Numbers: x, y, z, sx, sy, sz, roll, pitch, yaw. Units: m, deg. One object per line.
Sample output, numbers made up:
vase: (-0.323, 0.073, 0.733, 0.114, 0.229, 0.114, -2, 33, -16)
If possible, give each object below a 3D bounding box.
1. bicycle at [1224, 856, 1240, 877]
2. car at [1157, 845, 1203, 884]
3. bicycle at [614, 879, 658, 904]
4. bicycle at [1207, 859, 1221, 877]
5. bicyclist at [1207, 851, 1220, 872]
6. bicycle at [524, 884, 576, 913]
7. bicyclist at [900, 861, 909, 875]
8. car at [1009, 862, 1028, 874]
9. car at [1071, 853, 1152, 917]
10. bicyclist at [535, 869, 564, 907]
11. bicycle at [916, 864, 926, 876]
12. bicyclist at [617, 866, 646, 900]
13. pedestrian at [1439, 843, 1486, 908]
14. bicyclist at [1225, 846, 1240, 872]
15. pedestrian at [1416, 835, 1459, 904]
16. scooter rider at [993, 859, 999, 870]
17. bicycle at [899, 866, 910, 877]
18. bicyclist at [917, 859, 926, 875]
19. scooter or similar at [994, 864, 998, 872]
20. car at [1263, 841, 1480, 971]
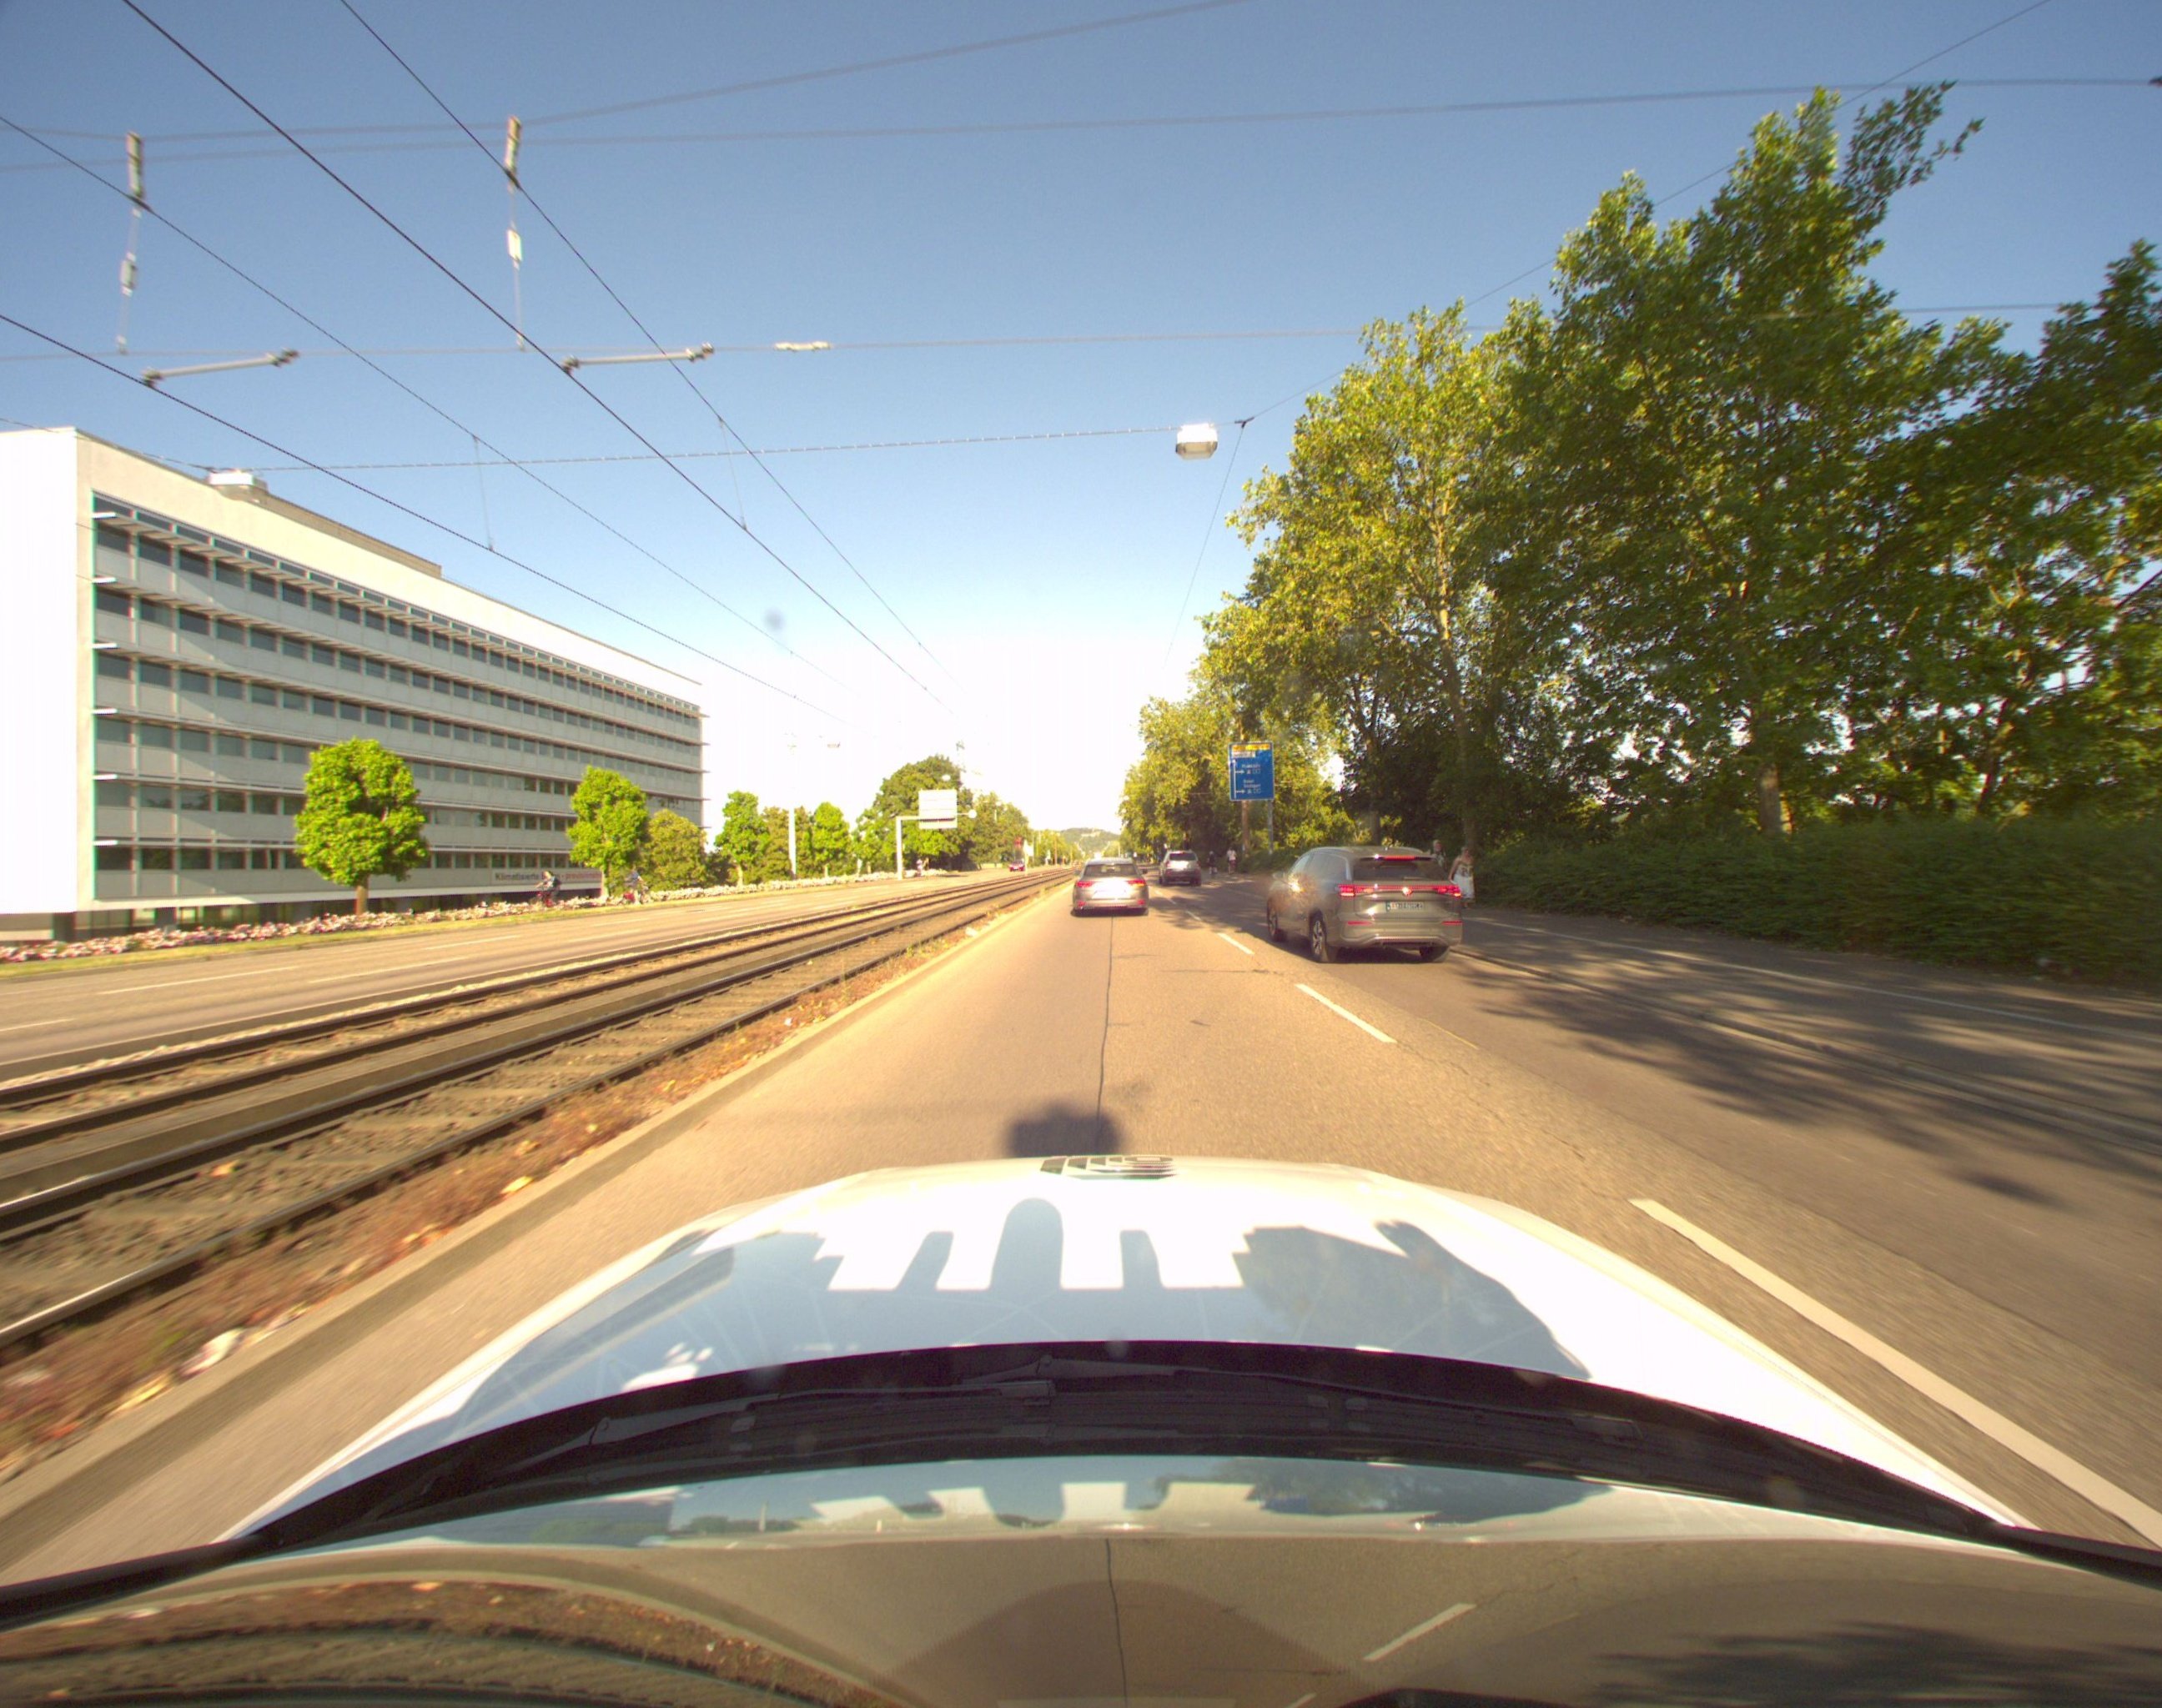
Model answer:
bicycle: (8.832, 0.719, 47.546, 0.620, 1.120, 1.814, -2, 0, 2)
car: (4.819, 0.501, 40.253, 1.876, 1.796, 4.001, 1, 0, 1)
bicycle: (-20.762, 1.736, 38.020, 0.701, 1.073, 2.032, 1, 0, 9)
bicycle: (7.757, 0.825, 47.575, 0.563, 0.974, 1.789, -2, 0, 2)
bicyclist: (7.754, 0.443, 47.679, 0.638, 1.226, 0.891, 0, 0, 2)
bicycle: (-23.317, 1.918, 35.790, 0.657, 1.151, 2.028, 1, 0, 12)
bicyclist: (-17.340, 1.371, 80.024, 0.622, 1.374, 0.880, 1, 0, 2)
car: (-8.489, 1.905, 111.173, 2.031, 1.503, 4.891, -2, 0, 3)
car: (0.818, 0.729, 21.386, 1.858, 1.467, 4.669, -1, 0, 3)
bicyclist: (-23.321, 1.501, 35.741, 0.657, 1.623, 0.803, 1, 0, 11)
bicycle: (-16.814, 1.689, 85.658, 0.599, 1.219, 1.751, 1, 0, 5)
bicyclist: (-20.804, 1.326, 37.739, 0.701, 1.512, 0.973, 1, 0, 9)
pedestrian: (9.111, 0.503, 19.469, 0.720, 1.480, 0.722, -2, 0, 1)
bicyclist: (8.854, 0.302, 47.578, 0.683, 1.509, 0.891, -1, 0, 2)
pedestrian: (9.189, 0.396, 21.018, 0.719, 1.707, 0.813, -2, 0, 1)
scooter rider: (-14.184, 1.739, 135.829, 0.678, 1.848, 1.003, -2, -1, 9)
bicycle: (-17.343, 1.717, 80.048, 0.622, 1.059, 1.704, 1, 0, 2)
bicyclist: (-16.807, 1.350, 85.730, 0.599, 1.659, 0.964, 1, 0, 5)
scooter or similar: (-14.171, 2.309, 135.752, 0.469, 1.296, 1.265, -2, -1, 9)
car: (4.202, 0.653, 12.604, 1.838, 1.661, 4.440, 0, 0, 1)
